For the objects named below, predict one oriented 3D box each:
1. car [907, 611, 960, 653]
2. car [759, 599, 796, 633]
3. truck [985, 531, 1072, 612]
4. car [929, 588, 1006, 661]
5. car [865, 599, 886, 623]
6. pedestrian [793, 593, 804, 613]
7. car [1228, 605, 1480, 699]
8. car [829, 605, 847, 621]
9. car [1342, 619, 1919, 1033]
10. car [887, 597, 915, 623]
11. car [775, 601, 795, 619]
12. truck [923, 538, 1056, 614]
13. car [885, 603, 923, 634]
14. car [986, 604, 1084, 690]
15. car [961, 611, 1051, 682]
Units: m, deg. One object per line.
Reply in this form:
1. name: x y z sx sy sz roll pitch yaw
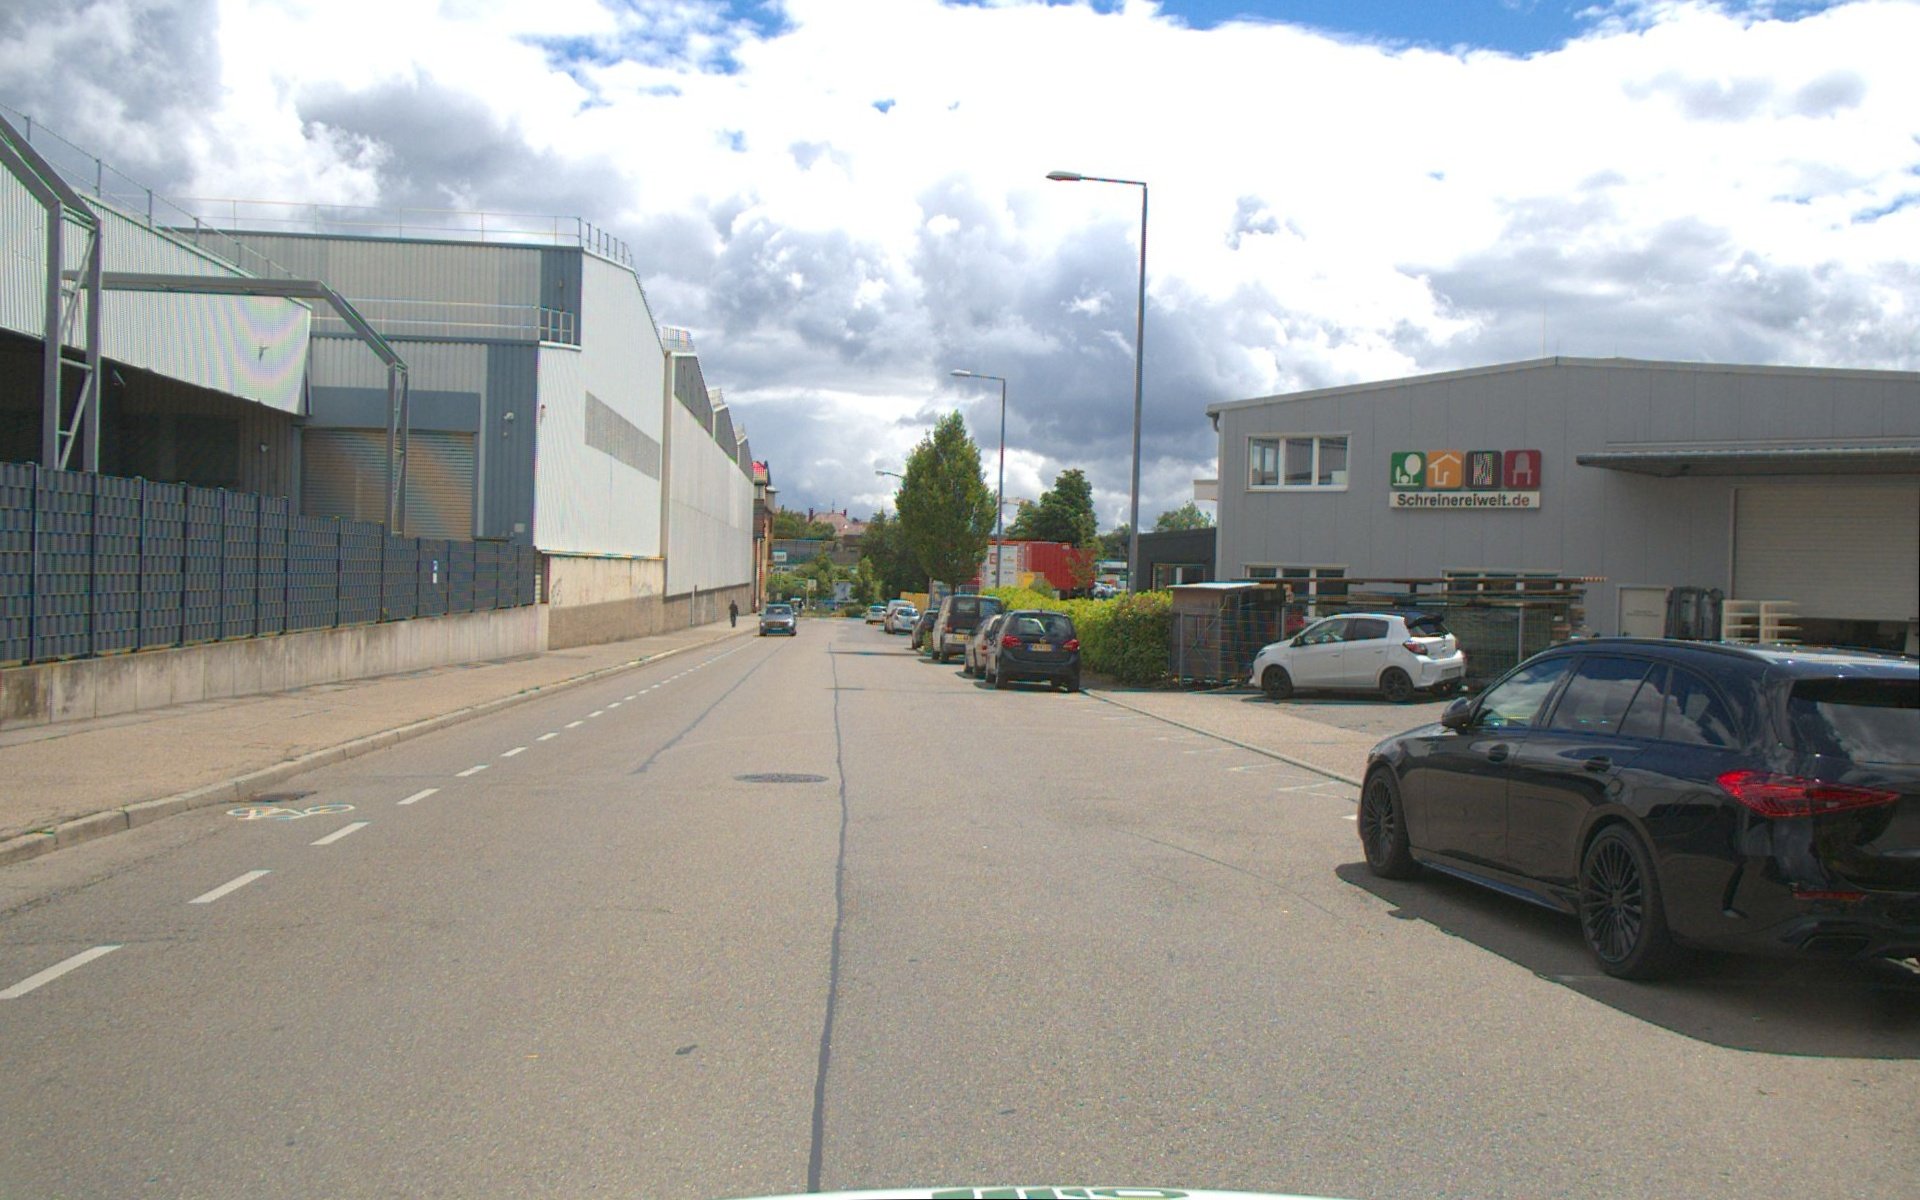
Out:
1. car: -1.055 1.215 63.449 1.680 1.499 4.506 1 0 -5
2. car: -9.085 0.811 82.715 1.686 1.583 4.283 -2 -1 -5
3. truck: 4.121 -1.654 101.442 2.535 4.527 7.817 2 -2 -19
4. car: 0.170 0.719 49.731 1.832 2.025 5.138 1 0 -5
5. car: -6.734 0.870 131.592 1.536 1.818 3.601 1 -2 -5
6. pedestrian: -14.041 0.240 143.433 0.836 1.692 0.860 1 -2 0
7. car: 6.833 0.885 28.950 1.711 1.488 4.011 -2 0 -43
8. car: -12.641 1.377 171.053 1.817 1.512 3.995 1 -2 -5
9. car: 3.592 0.870 8.459 1.756 1.491 4.702 1 -1 -6
10. car: -3.736 0.642 104.279 1.667 1.554 3.735 2 0 -3
11. car: -16.957 0.979 159.967 1.817 1.512 3.995 1 -2 -5
12. truck: 1.938 -1.587 108.070 8.271 4.753 2.583 1 -2 16
13. car: -3.205 1.042 93.686 1.669 1.554 3.731 4 0 -8
14. car: 1.527 0.950 34.920 1.646 1.667 4.120 1 0 -3
15. car: 1.041 1.064 39.851 1.623 1.567 4.729 1 0 -5
